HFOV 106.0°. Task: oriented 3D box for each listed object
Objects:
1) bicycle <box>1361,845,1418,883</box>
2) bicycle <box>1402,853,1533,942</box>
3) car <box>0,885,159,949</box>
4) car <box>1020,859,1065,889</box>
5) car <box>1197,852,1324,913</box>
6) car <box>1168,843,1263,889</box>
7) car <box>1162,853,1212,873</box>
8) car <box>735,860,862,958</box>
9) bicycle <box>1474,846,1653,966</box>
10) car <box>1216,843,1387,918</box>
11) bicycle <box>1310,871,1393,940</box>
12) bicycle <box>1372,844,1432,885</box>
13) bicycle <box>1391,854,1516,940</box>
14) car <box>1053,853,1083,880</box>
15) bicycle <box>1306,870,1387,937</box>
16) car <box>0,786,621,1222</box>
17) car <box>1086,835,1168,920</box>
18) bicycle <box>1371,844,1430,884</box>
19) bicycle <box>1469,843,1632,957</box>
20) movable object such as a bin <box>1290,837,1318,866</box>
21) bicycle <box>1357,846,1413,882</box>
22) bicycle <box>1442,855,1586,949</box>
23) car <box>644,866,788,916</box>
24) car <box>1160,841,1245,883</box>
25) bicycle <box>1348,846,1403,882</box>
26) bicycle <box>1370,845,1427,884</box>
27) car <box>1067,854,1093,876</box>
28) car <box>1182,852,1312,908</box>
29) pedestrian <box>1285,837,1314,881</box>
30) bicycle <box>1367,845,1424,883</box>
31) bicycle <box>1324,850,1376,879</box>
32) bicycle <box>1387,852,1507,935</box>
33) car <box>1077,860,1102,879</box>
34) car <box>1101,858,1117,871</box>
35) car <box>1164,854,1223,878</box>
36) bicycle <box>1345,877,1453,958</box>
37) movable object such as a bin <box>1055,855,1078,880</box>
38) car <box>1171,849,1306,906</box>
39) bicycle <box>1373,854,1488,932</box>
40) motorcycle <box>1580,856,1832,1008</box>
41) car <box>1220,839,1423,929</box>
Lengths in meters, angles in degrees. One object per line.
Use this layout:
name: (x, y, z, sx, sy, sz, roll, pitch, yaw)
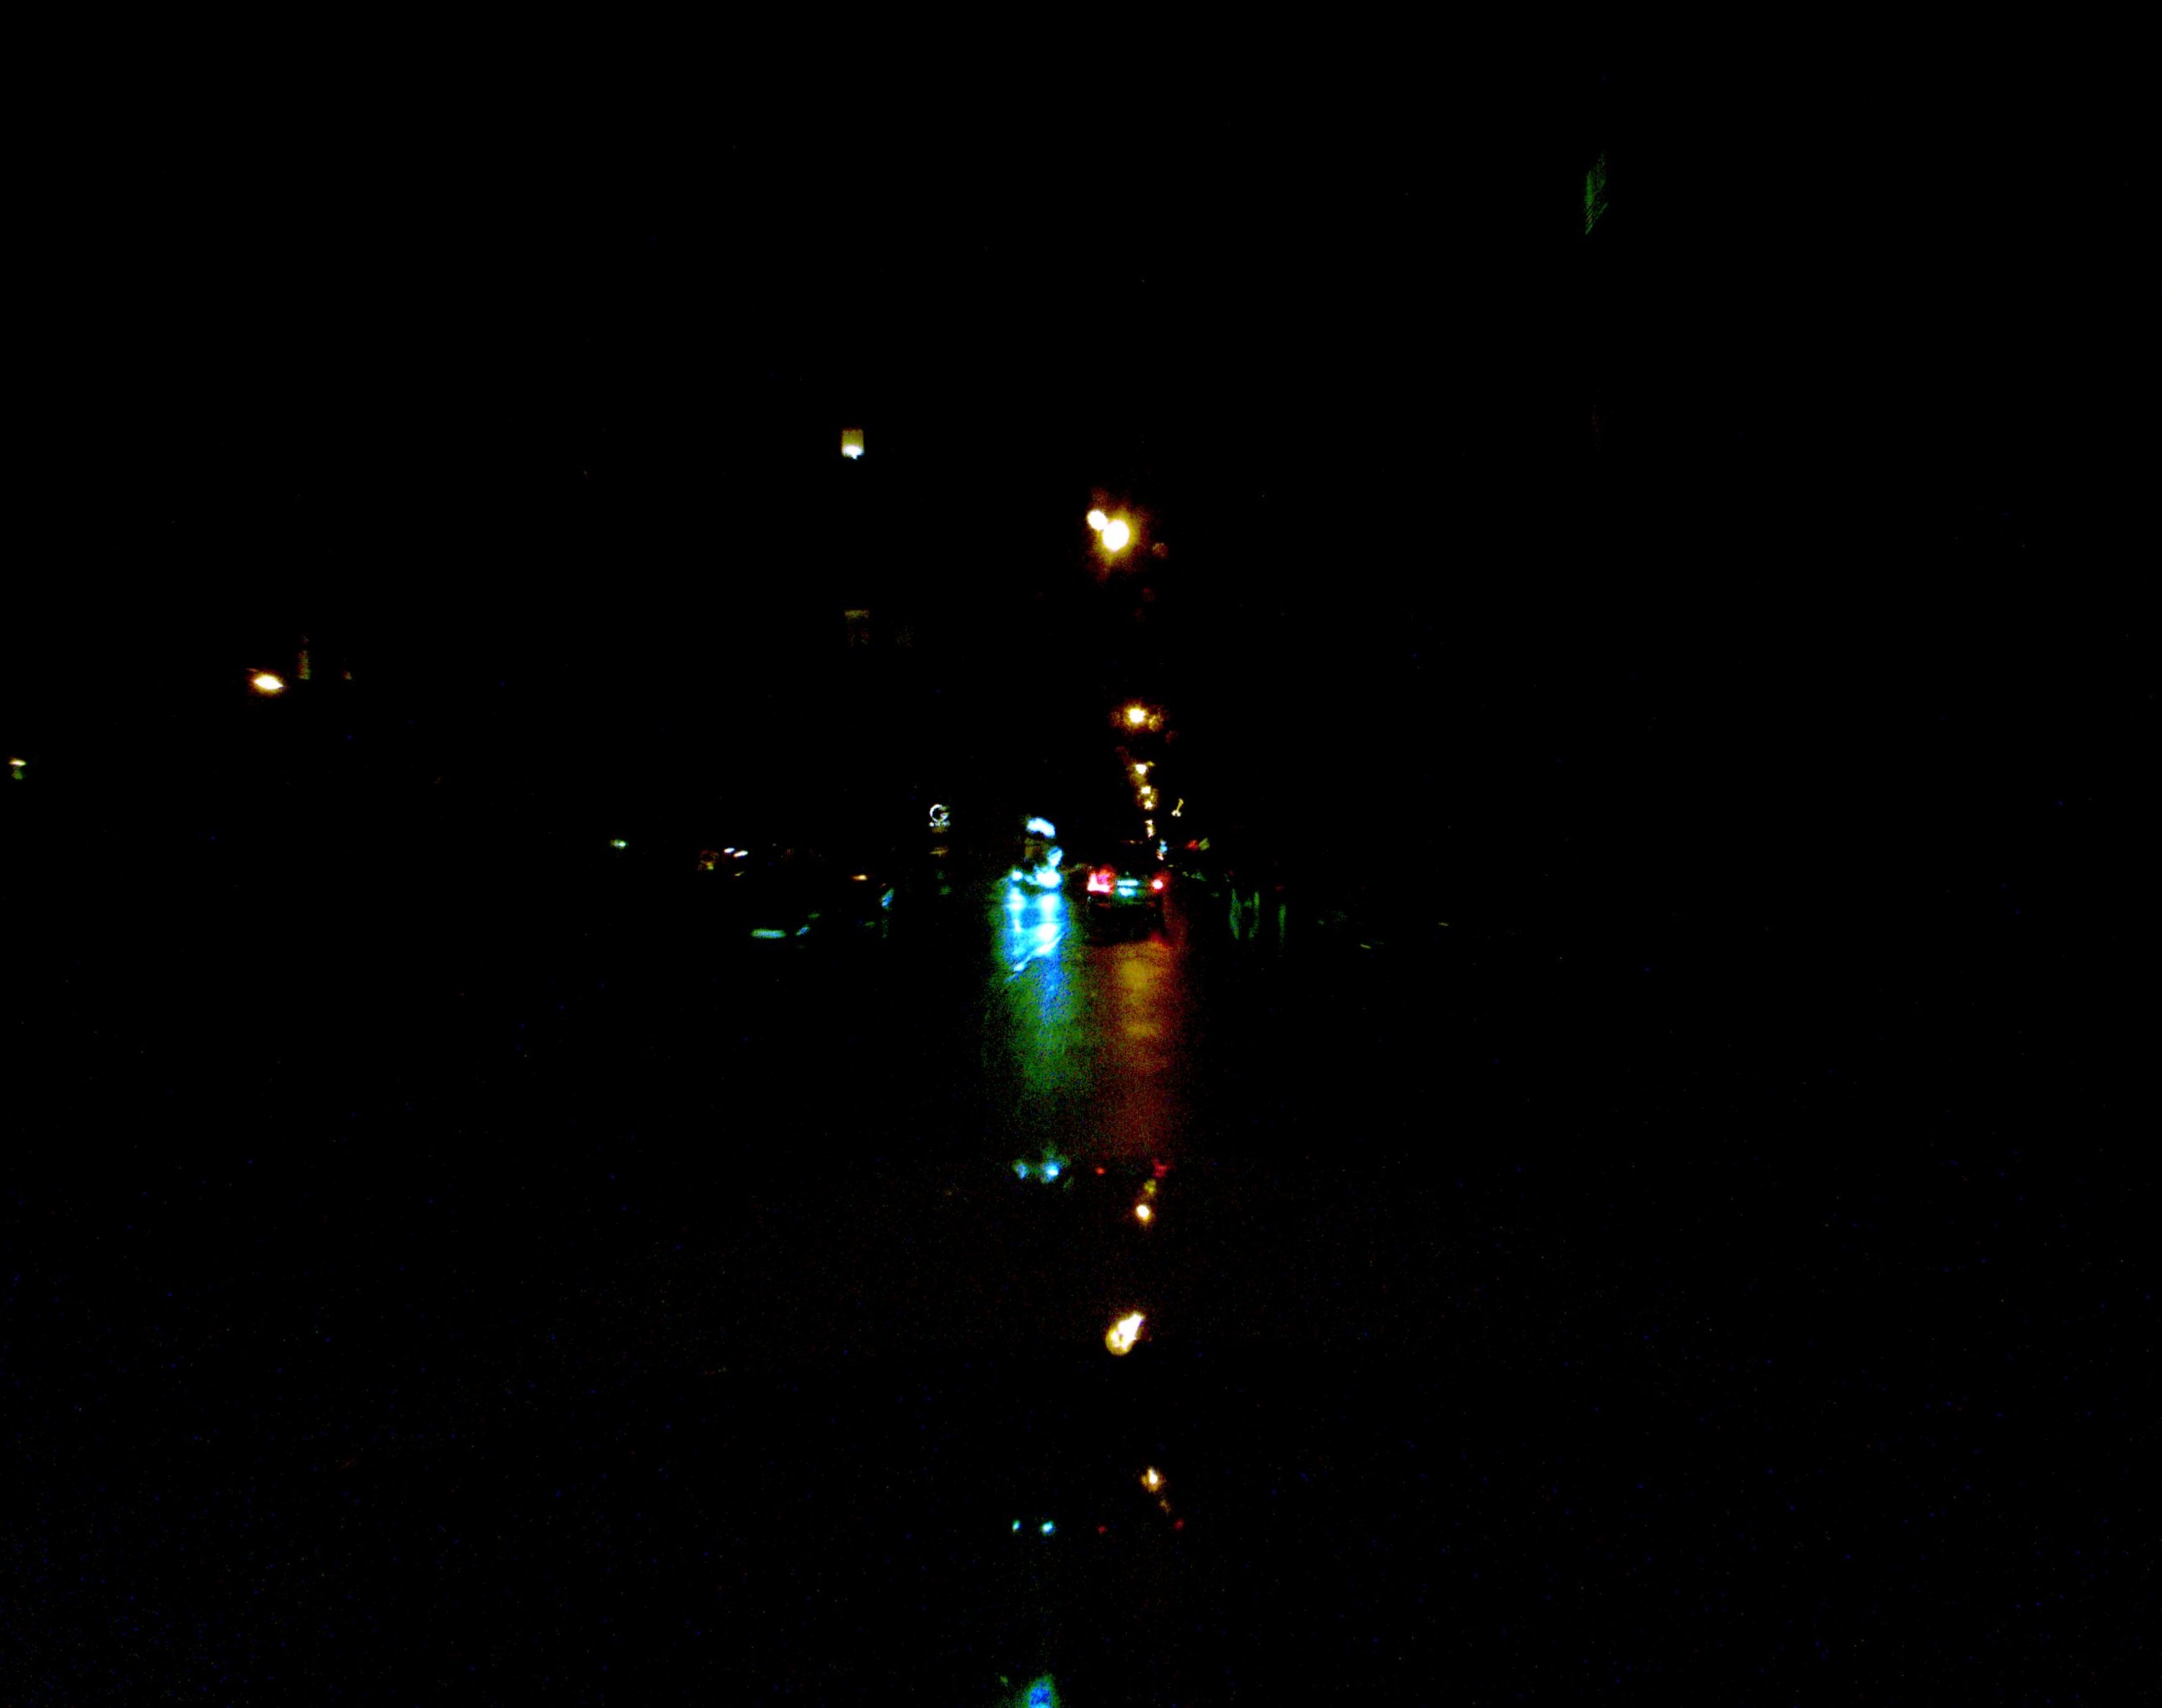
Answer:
bicycle: (10.615, 0.346, 28.040, 1.681, 1.146, 0.541, -5, 0, -4)
bicycle: (5.456, 0.607, 11.539, 1.589, 1.158, 0.418, -3, 0, 1)
car: (-28.536, 1.724, 22.533, 3.972, 1.608, 1.855, -1, 0, 1)
car: (-1.838, 0.955, 39.999, 1.646, 1.359, 4.228, -1, 0, 5)
car: (4.900, 0.739, 22.319, 3.046, 1.552, 1.496, -1, 0, -17)
car: (6.428, 0.553, 38.690, 4.261, 1.858, 1.700, -3, -1, -31)
car: (8.673, 0.766, 66.728, 3.683, 1.460, 1.594, -3, -1, -19)
car: (-4.757, 0.844, 14.150, 1.547, 1.443, 3.550, 0, 0, -11)
bicycle: (5.344, 0.571, 9.073, 1.655, 1.234, 0.386, -3, 0, 7)
car: (5.363, 0.613, 19.878, 3.713, 1.522, 1.645, -3, -1, -20)
bicycle: (4.193, 0.799, 12.644, 1.127, 0.974, 0.249, -4, 0, 2)
bicycle: (10.151, 0.335, 25.768, 1.681, 1.146, 0.428, -5, 0, -4)
bicycle: (5.467, 0.620, 11.982, 1.589, 1.158, 0.418, -3, 0, 1)
car: (-0.866, 0.830, 54.542, 1.596, 1.706, 3.726, -1, 0, 5)
bicycle: (4.208, 0.780, 12.917, 1.127, 0.948, 0.268, -5, 0, 2)
car: (-5.360, 0.669, 5.032, 1.857, 1.846, 4.835, -2, 0, 6)
car: (1.310, 0.602, 22.011, 1.984, 2.050, 4.006, -1, -1, 5)
bicycle: (10.342, 0.329, 26.379, 1.681, 1.146, 0.428, -5, 0, -4)
bicycle: (5.490, 0.536, 9.583, 1.571, 1.234, 0.418, -3, 0, 7)
movable object such as a bin: (12.284, -0.153, 44.882, 1.203, 1.451, 1.000, -6, -1, 5)
bicycle: (10.708, 0.351, 28.717, 1.681, 1.146, 0.596, -5, 0, -4)
bicycle: (5.619, 0.618, 10.598, 1.589, 1.112, 0.418, -3, 0, 1)
car: (-12.136, 1.210, 27.223, 3.968, 1.538, 1.794, -1, 0, 4)
car: (7.188, 0.450, 48.139, 4.741, 2.248, 1.927, -2, -1, -31)
bicycle: (10.662, 0.356, 29.488, 1.681, 1.146, 0.665, -5, 0, -4)
bicycle: (10.500, 0.339, 26.944, 1.681, 1.146, 0.428, -5, 0, -4)
car: (-0.049, 0.815, 60.587, 1.596, 1.552, 4.031, 0, 0, 5)
car: (5.092, 0.761, 25.159, 3.562, 1.611, 1.703, -1, 0, -17)
pedestrian: (9.694, 0.217, 36.153, 0.835, 1.835, 0.947, -6, -2, 1)
bicycle: (10.604, 0.342, 27.473, 1.681, 1.146, 0.485, -5, 0, -4)
bicycle: (11.242, 0.438, 34.080, 1.966, 1.054, 0.509, -4, -1, -2)
bicycle: (5.564, 0.593, 12.423, 1.589, 1.158, 0.418, -3, 0, 1)
car: (0.710, 1.217, 65.536, 1.678, 1.455, 4.321, 0, 0, 5)
car: (3.426, 1.284, 98.523, 1.579, 1.482, 3.800, -1, 0, 6)
car: (8.281, 0.911, 59.801, 4.012, 1.552, 1.787, -2, -1, -30)
bicycle: (4.068, 0.805, 10.450, 1.206, 0.948, 0.302, -3, -1, 1)
movable object such as a bin: (-0.842, 0.775, 48.147, 1.202, 1.459, 1.109, 0, -1, 7)
car: (5.288, 0.755, 27.405, 4.106, 1.764, 1.847, -1, 0, -19)
bicycle: (5.630, 0.626, 13.172, 1.584, 1.158, 0.541, -3, 0, 12)
motorcycle: (5.326, 0.639, 7.003, 1.628, 1.124, 0.652, -4, 0, -2)
car: (4.955, 0.578, 16.822, 3.713, 1.522, 1.645, -3, -1, -20)
